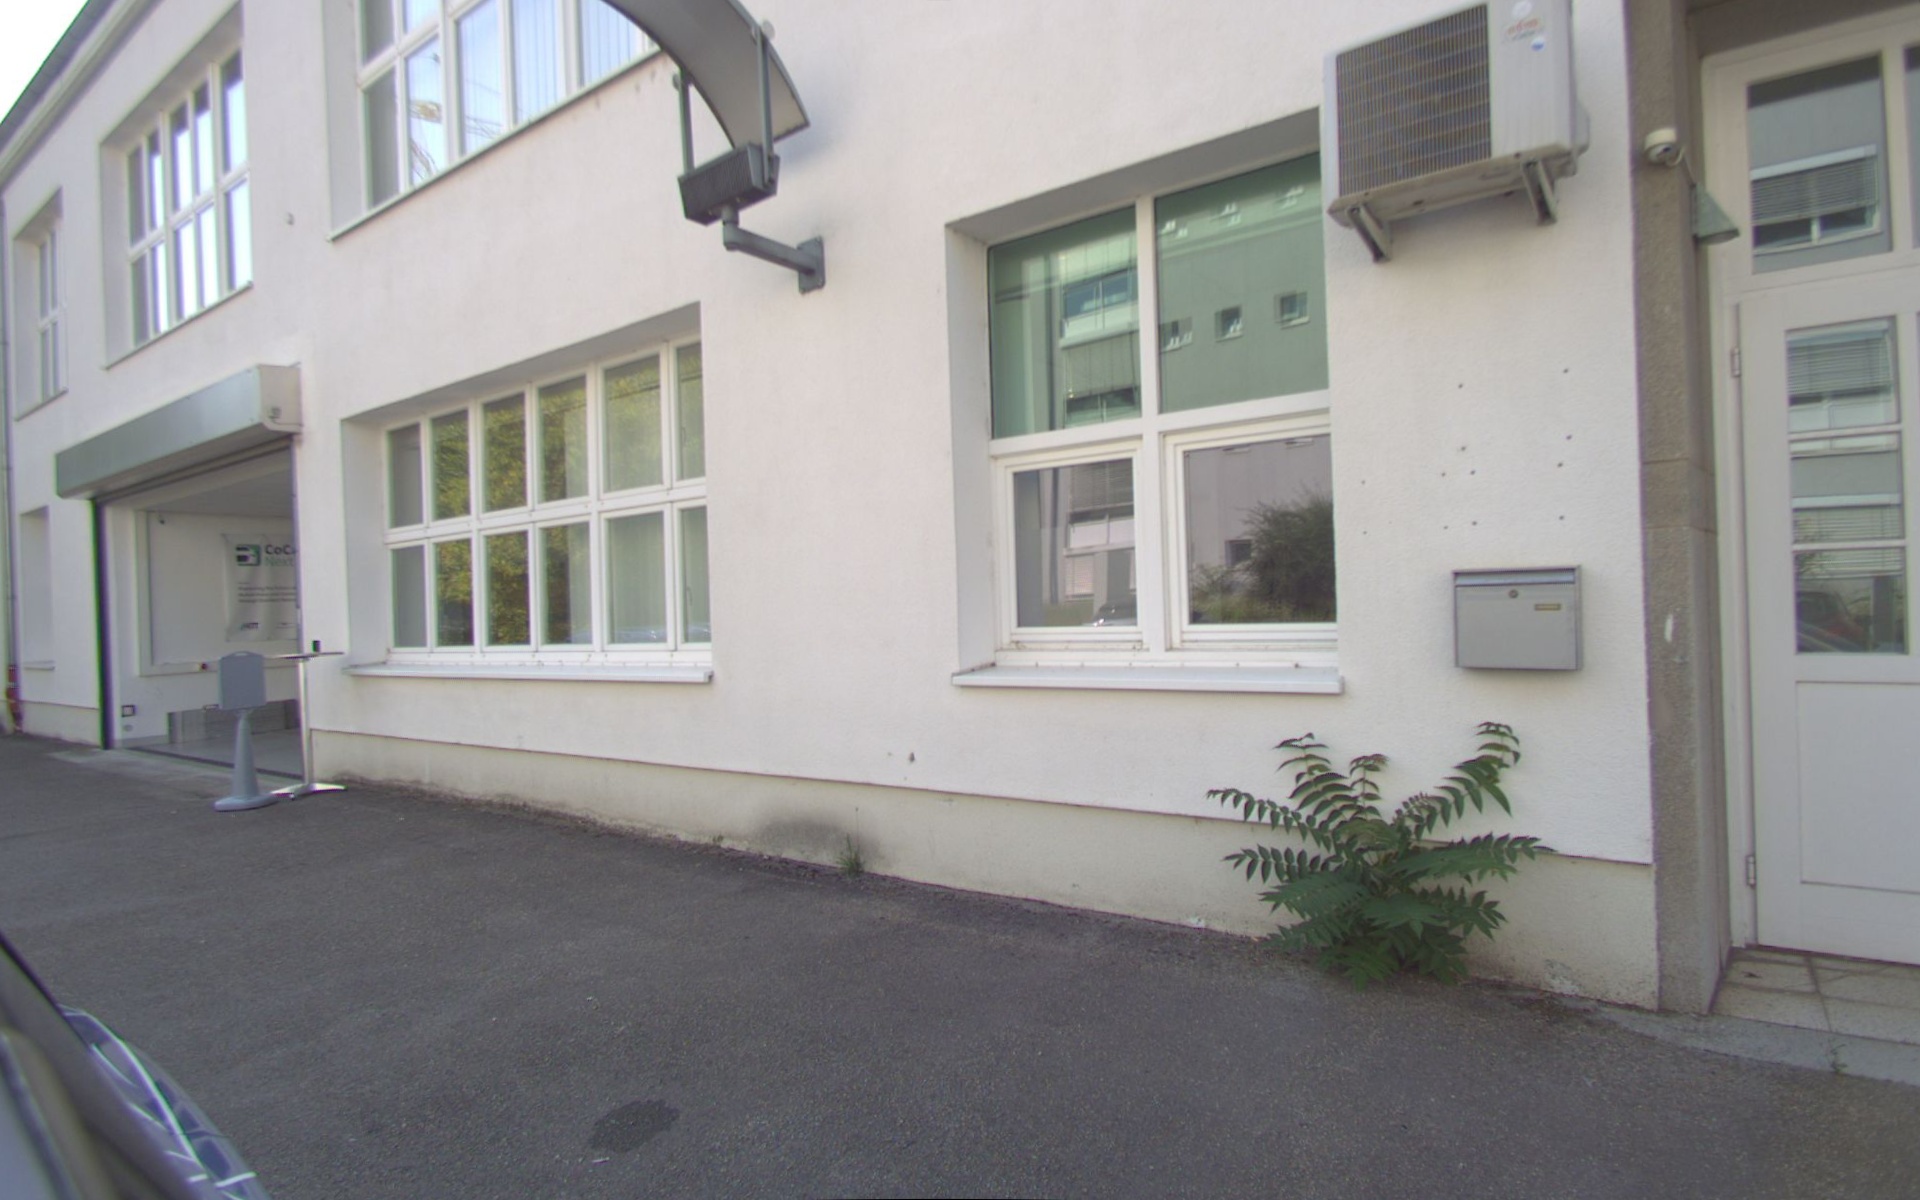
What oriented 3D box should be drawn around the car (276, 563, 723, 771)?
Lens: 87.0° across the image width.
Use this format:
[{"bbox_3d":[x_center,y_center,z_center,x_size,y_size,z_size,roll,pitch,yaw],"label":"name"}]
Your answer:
[{"bbox_3d":[-5.523,0.641,12.768,2.052,2.108,4.704,-2,0,36],"label":"car"}]
